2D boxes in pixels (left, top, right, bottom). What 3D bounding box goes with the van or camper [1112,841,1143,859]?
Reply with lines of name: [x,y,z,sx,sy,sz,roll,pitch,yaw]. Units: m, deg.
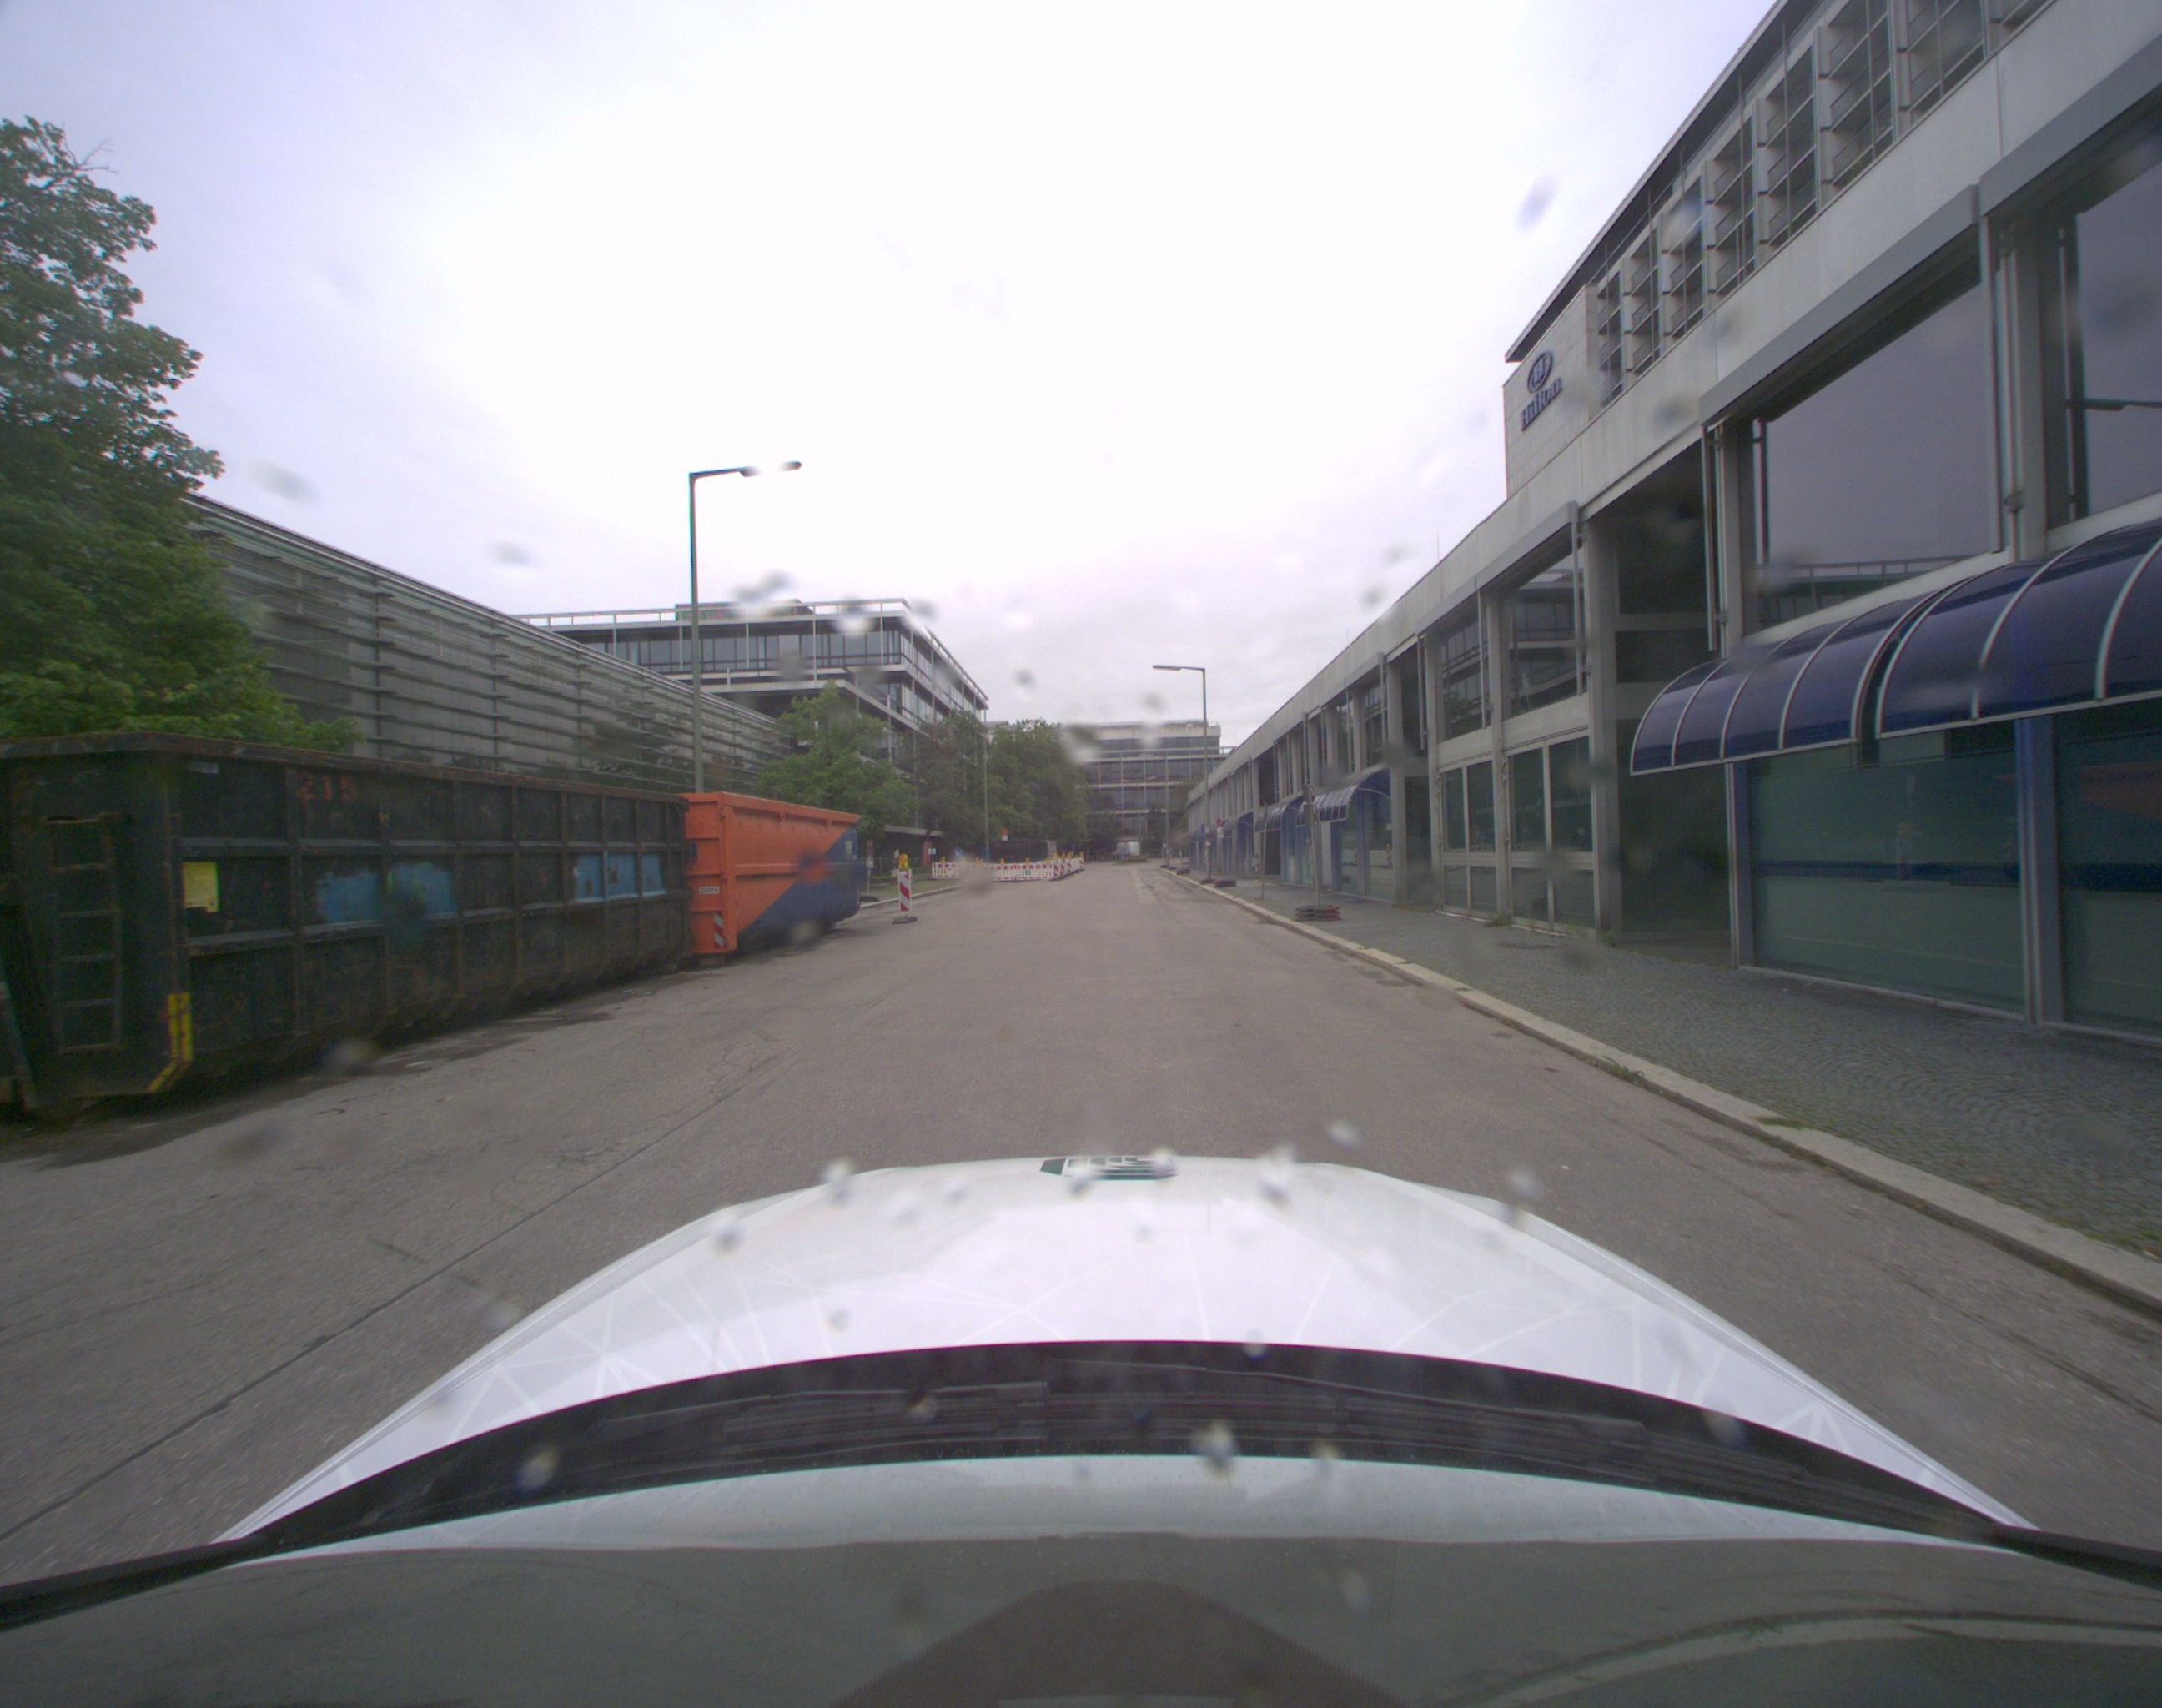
van or camper: [7.207,-0.583,126.179,2.165,2.580,6.489,-1,-1,-22]
